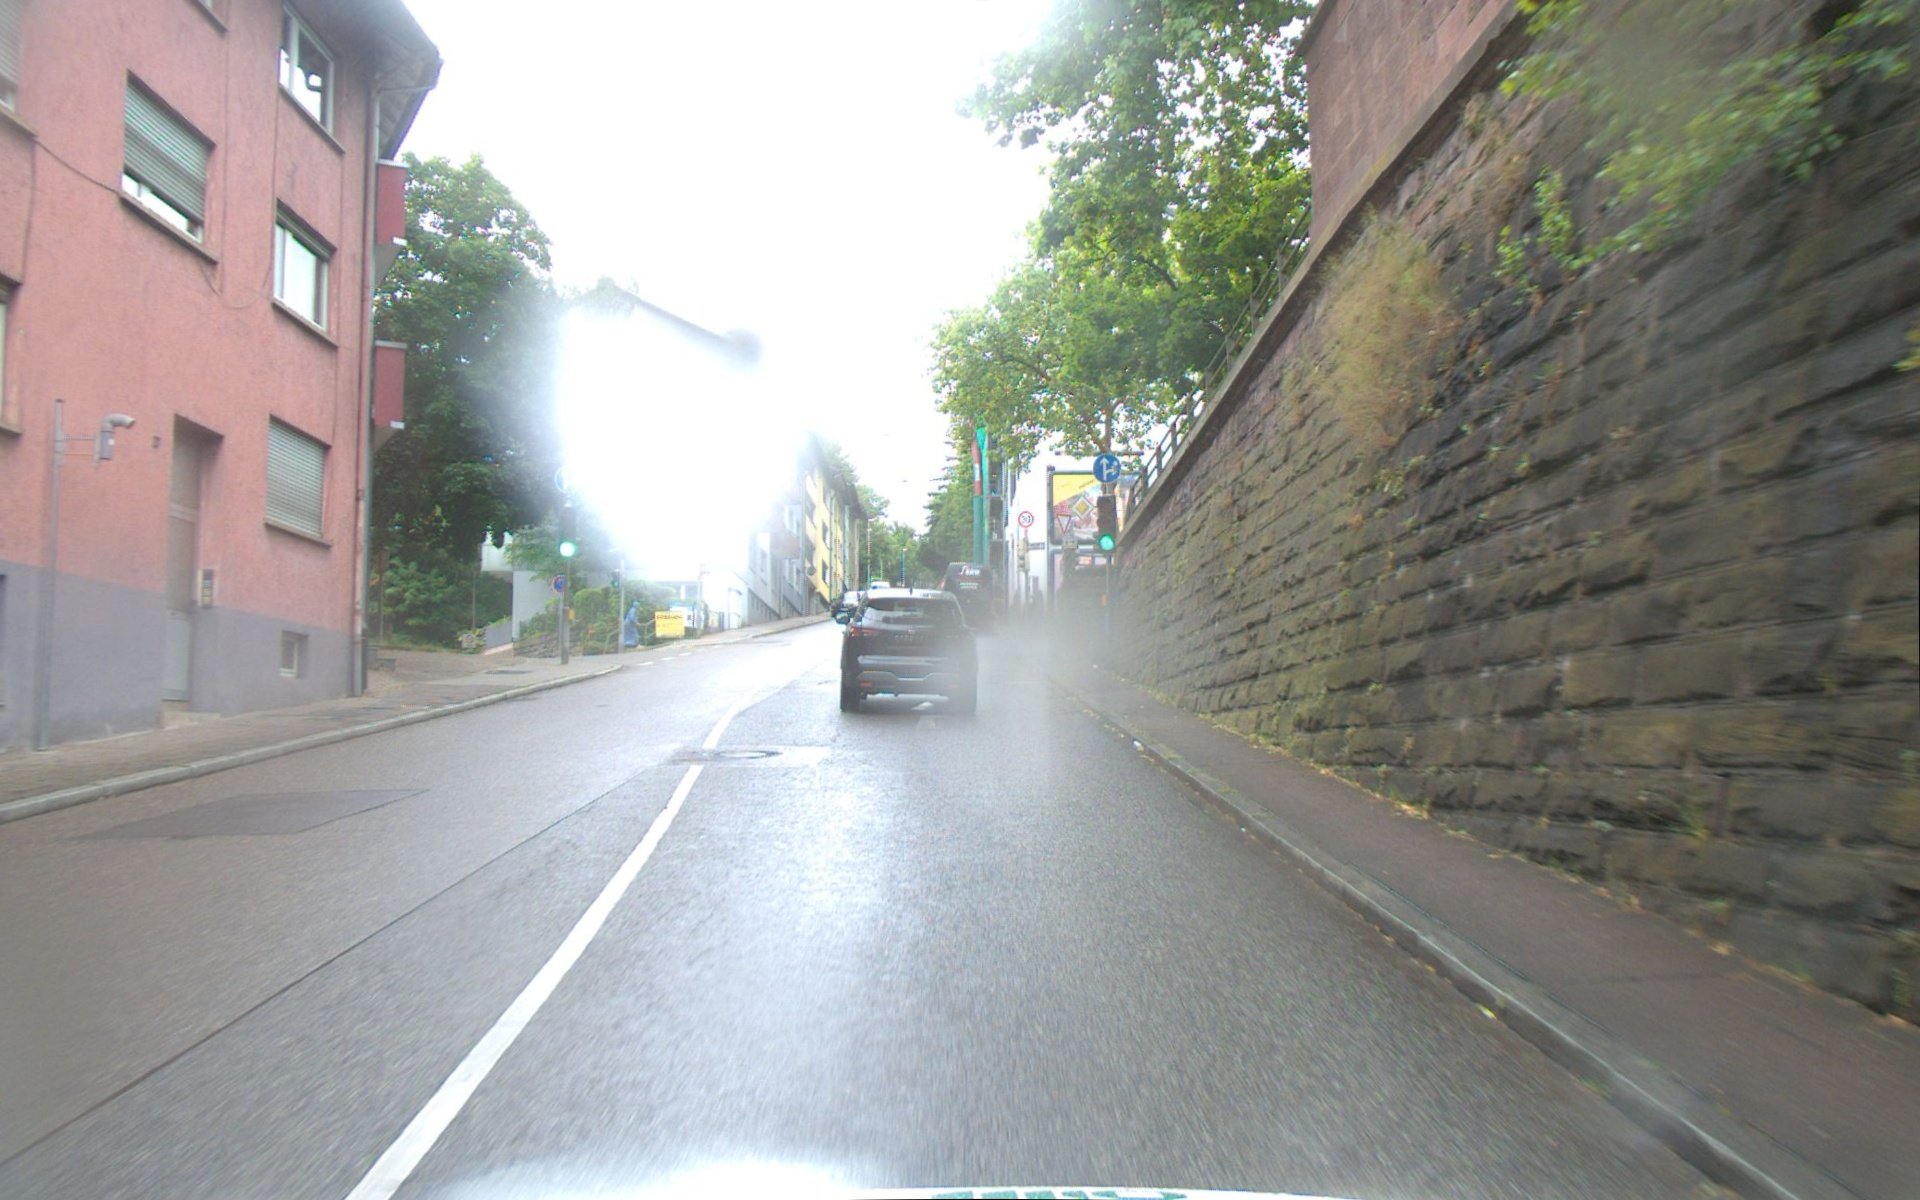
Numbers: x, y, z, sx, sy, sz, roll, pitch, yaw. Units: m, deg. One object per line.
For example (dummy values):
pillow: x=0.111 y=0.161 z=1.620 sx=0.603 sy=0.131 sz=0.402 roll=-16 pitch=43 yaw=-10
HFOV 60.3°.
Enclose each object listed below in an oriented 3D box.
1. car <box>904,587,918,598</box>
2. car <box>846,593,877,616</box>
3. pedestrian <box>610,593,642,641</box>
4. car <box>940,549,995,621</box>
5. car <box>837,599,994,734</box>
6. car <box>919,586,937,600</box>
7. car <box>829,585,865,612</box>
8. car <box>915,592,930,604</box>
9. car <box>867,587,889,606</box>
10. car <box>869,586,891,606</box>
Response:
car: x=-7.341 y=-1.176 z=247.320 sx=2.033 sy=1.587 sz=3.999 roll=0 pitch=1 yaw=-2
car: x=-7.508 y=0.339 z=126.310 sx=1.952 sy=1.678 sz=4.442 roll=-1 pitch=1 yaw=1
pedestrian: x=-11.142 y=0.589 z=55.221 sx=0.852 sy=1.568 sz=1.086 roll=1 pitch=-2 yaw=-4
car: x=0.283 y=-0.499 z=62.702 sx=1.953 sy=2.456 sz=5.835 roll=1 pitch=-2 yaw=0
car: x=-0.591 y=0.836 z=22.820 sx=1.953 sy=1.586 sz=4.000 roll=1 pitch=1 yaw=-1
car: x=-3.679 y=-0.844 z=191.318 sx=2.033 sy=1.587 sz=3.999 roll=0 pitch=1 yaw=-2
car: x=-7.473 y=-0.133 z=109.911 sx=1.952 sy=1.678 sz=4.442 roll=-1 pitch=1 yaw=1
car: x=-4.991 y=-0.262 z=219.042 sx=2.033 sy=1.587 sz=3.999 roll=0 pitch=1 yaw=-2
car: x=-7.401 y=-0.302 z=149.667 sx=1.950 sy=1.613 sz=4.304 roll=-1 pitch=1 yaw=-2
car: x=-7.501 y=-0.395 z=155.704 sx=1.950 sy=1.786 sz=4.478 roll=-1 pitch=1 yaw=-2
